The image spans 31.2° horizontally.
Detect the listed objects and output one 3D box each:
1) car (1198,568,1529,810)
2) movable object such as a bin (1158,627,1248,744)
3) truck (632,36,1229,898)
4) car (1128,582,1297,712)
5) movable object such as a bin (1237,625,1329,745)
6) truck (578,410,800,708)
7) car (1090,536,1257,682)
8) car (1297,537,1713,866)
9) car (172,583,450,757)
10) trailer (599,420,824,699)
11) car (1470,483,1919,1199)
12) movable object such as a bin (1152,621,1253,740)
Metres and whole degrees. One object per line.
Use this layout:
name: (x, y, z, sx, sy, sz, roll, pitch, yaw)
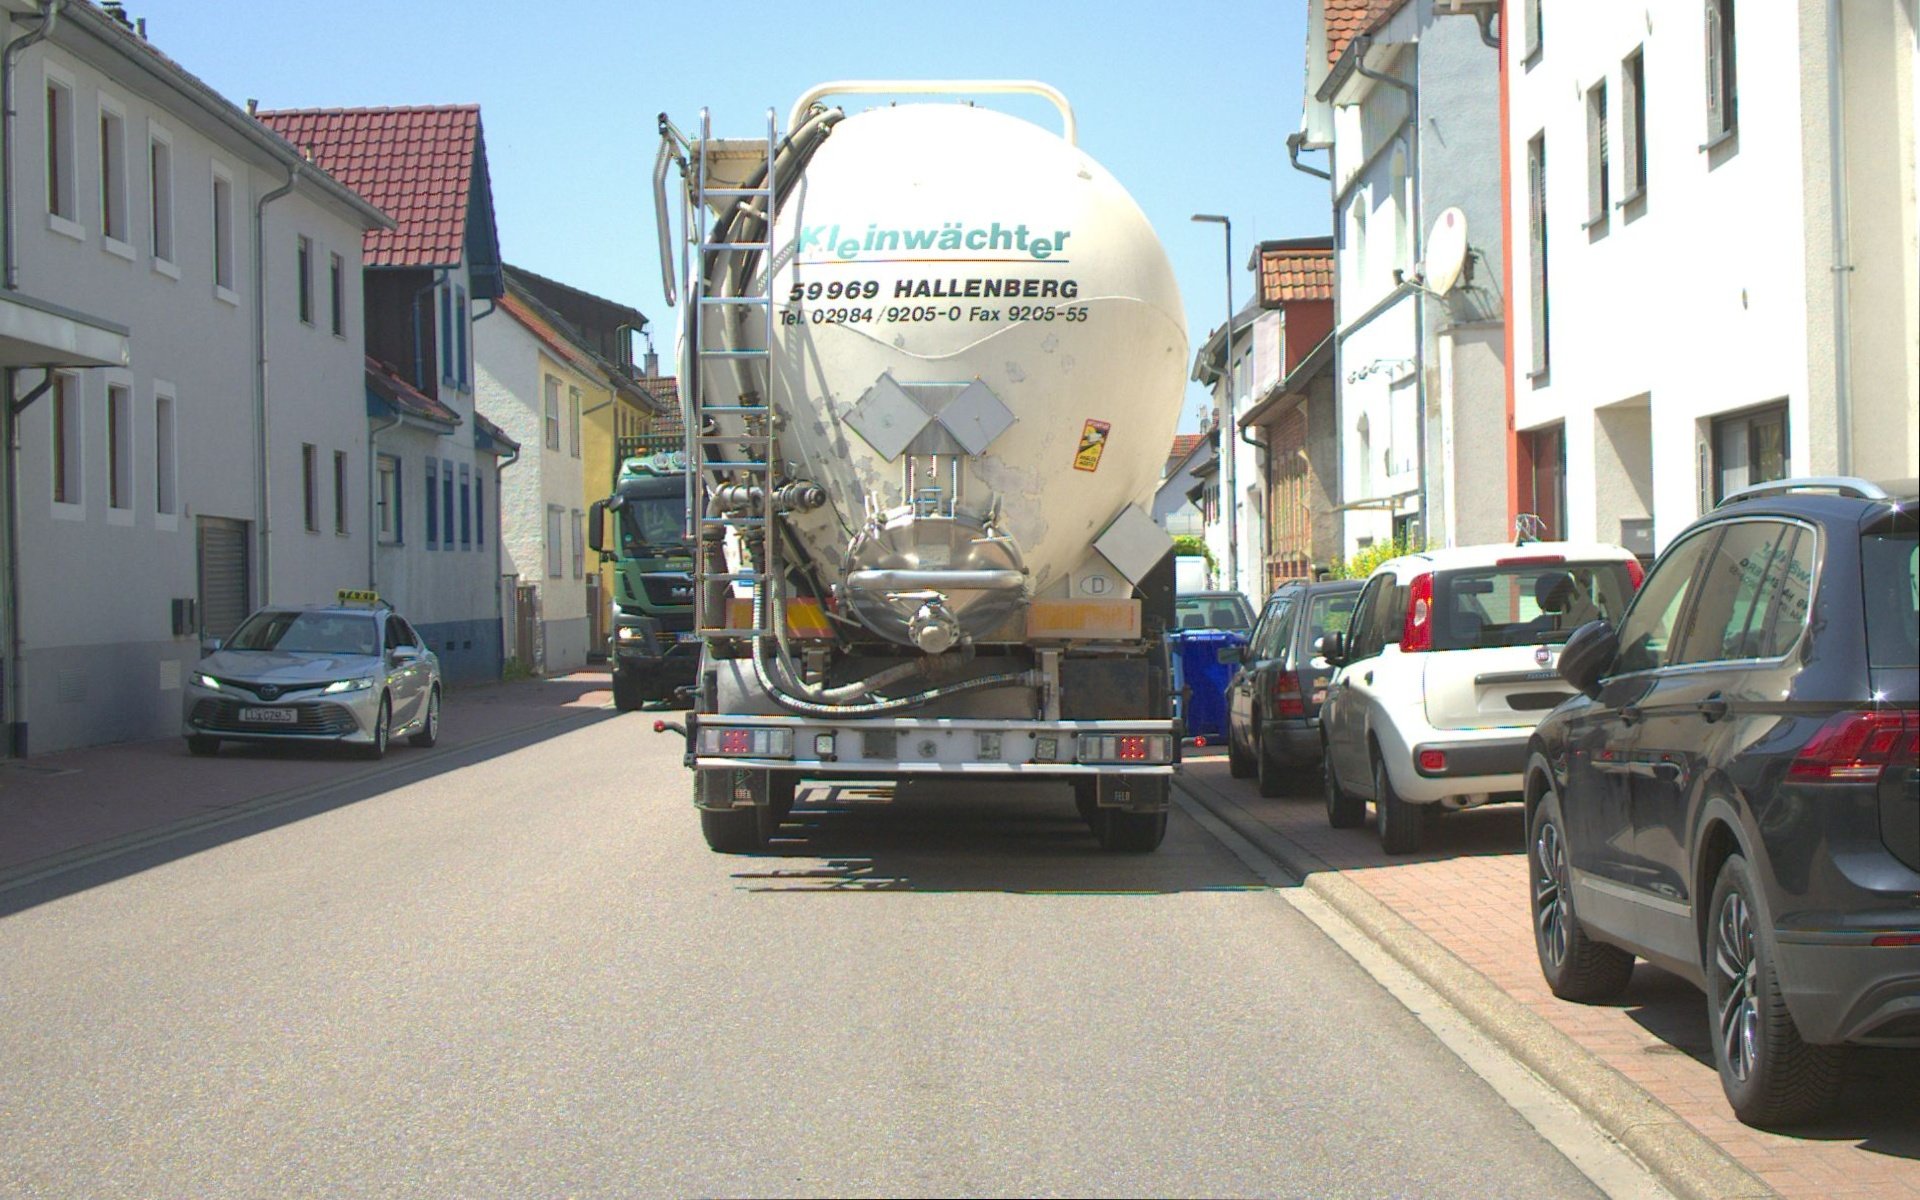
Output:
car: (2.727, 0.562, 24.226, 1.700, 1.442, 4.836, -3, 0, 0)
movable object such as a bin: (2.238, 0.780, 31.686, 0.656, 1.031, 0.683, -3, 0, 16)
truck: (-0.112, -0.606, 19.823, 2.732, 3.947, 8.141, 0, 0, 0)
car: (3.035, 0.537, 42.130, 1.770, 1.461, 4.577, -1, 0, 1)
movable object such as a bin: (2.982, 0.778, 31.672, 0.654, 1.056, 0.835, -3, 0, 16)
truck: (-3.863, -0.560, 50.414, 2.618, 3.972, 6.852, -2, 0, 0)
car: (3.041, 0.117, 49.884, 1.946, 1.964, 4.785, -1, 0, -2)
car: (2.834, 0.492, 18.566, 1.606, 1.517, 3.545, -3, 0, 0)
car: (-6.289, 0.640, 33.785, 1.808, 1.552, 4.565, 2, 0, 0)
trailer: (-3.922, -0.583, 57.842, 2.630, 3.966, 15.699, -2, 0, -1)
car: (2.751, 0.479, 9.989, 1.802, 1.608, 4.548, -3, 1, 0)
movable object such as a bin: (2.305, 0.758, 32.571, 0.723, 1.069, 0.971, -3, 0, 16)
